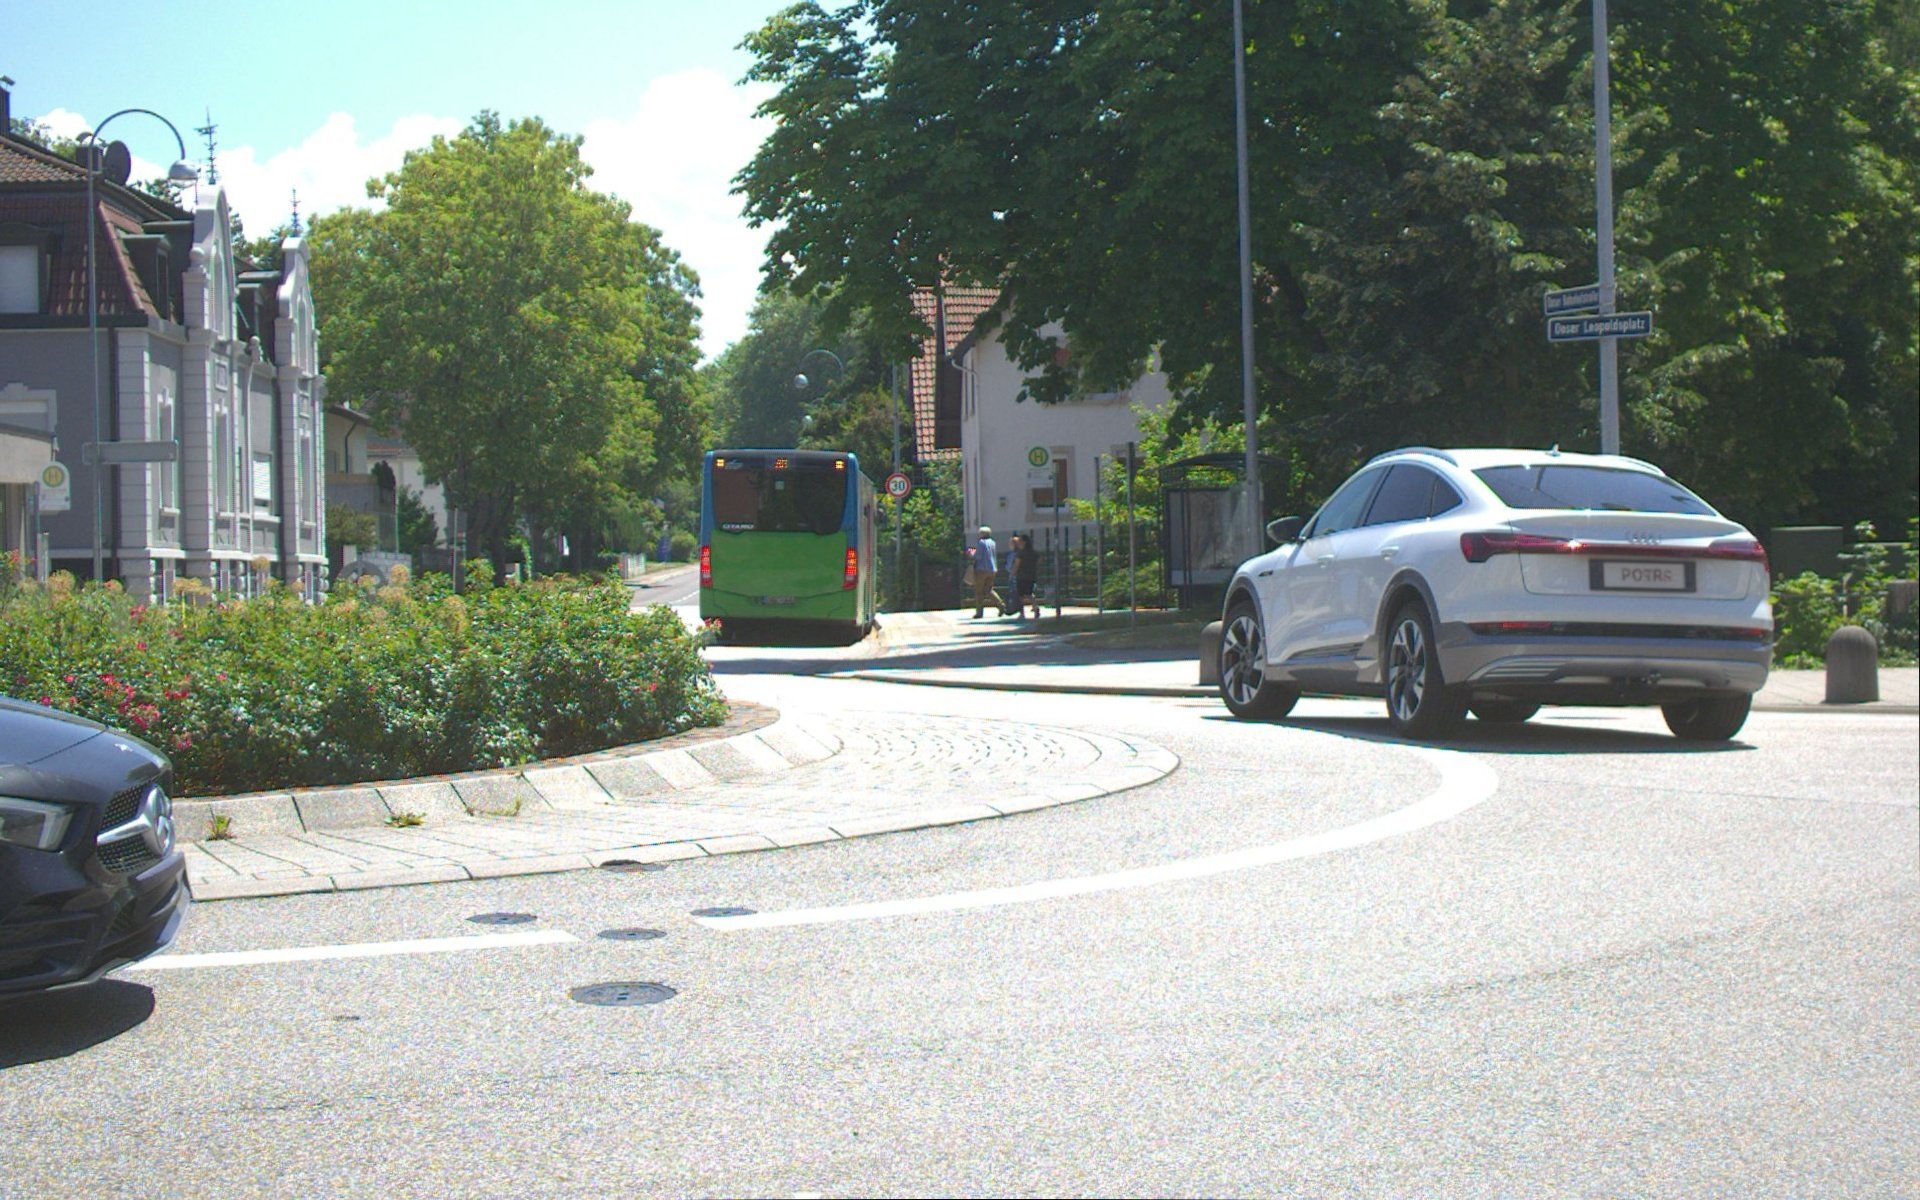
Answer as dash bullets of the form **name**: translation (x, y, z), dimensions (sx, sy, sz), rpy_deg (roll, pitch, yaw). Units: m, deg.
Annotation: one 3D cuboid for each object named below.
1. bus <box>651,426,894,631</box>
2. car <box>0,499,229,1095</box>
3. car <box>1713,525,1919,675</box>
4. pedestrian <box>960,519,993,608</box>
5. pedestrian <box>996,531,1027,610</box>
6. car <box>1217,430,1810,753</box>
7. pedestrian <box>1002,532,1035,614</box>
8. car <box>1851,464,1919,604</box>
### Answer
- **bus**: translation (-3.111, -1.207, 62.797), dimensions (3.706, 3.160, 18.070), rpy_deg (1, 1, -1)
- **car**: translation (-4.427, 0.510, 9.399), dimensions (4.424, 1.452, 1.769), rpy_deg (-1, 2, 1)
- **car**: translation (10.116, -0.029, 38.023), dimensions (3.048, 1.547, 1.635), rpy_deg (-2, 1, -15)
- **pedestrian**: translation (0.309, -0.689, 64.737), dimensions (0.502, 1.644, 0.580), rpy_deg (-1, 1, -8)
- **pedestrian**: translation (1.009, -0.582, 67.222), dimensions (0.488, 1.517, 0.543), rpy_deg (-1, 1, -8)
- **car**: translation (3.046, -0.077, 19.969), dimensions (1.898, 1.656, 4.411), rpy_deg (0, 1, -13)
- **pedestrian**: translation (1.059, -0.492, 61.876), dimensions (0.489, 1.449, 0.531), rpy_deg (-1, 1, -8)
- **car**: translation (15.017, -0.967, 49.059), dimensions (1.994, 2.007, 3.998), rpy_deg (-2, 1, -42)
